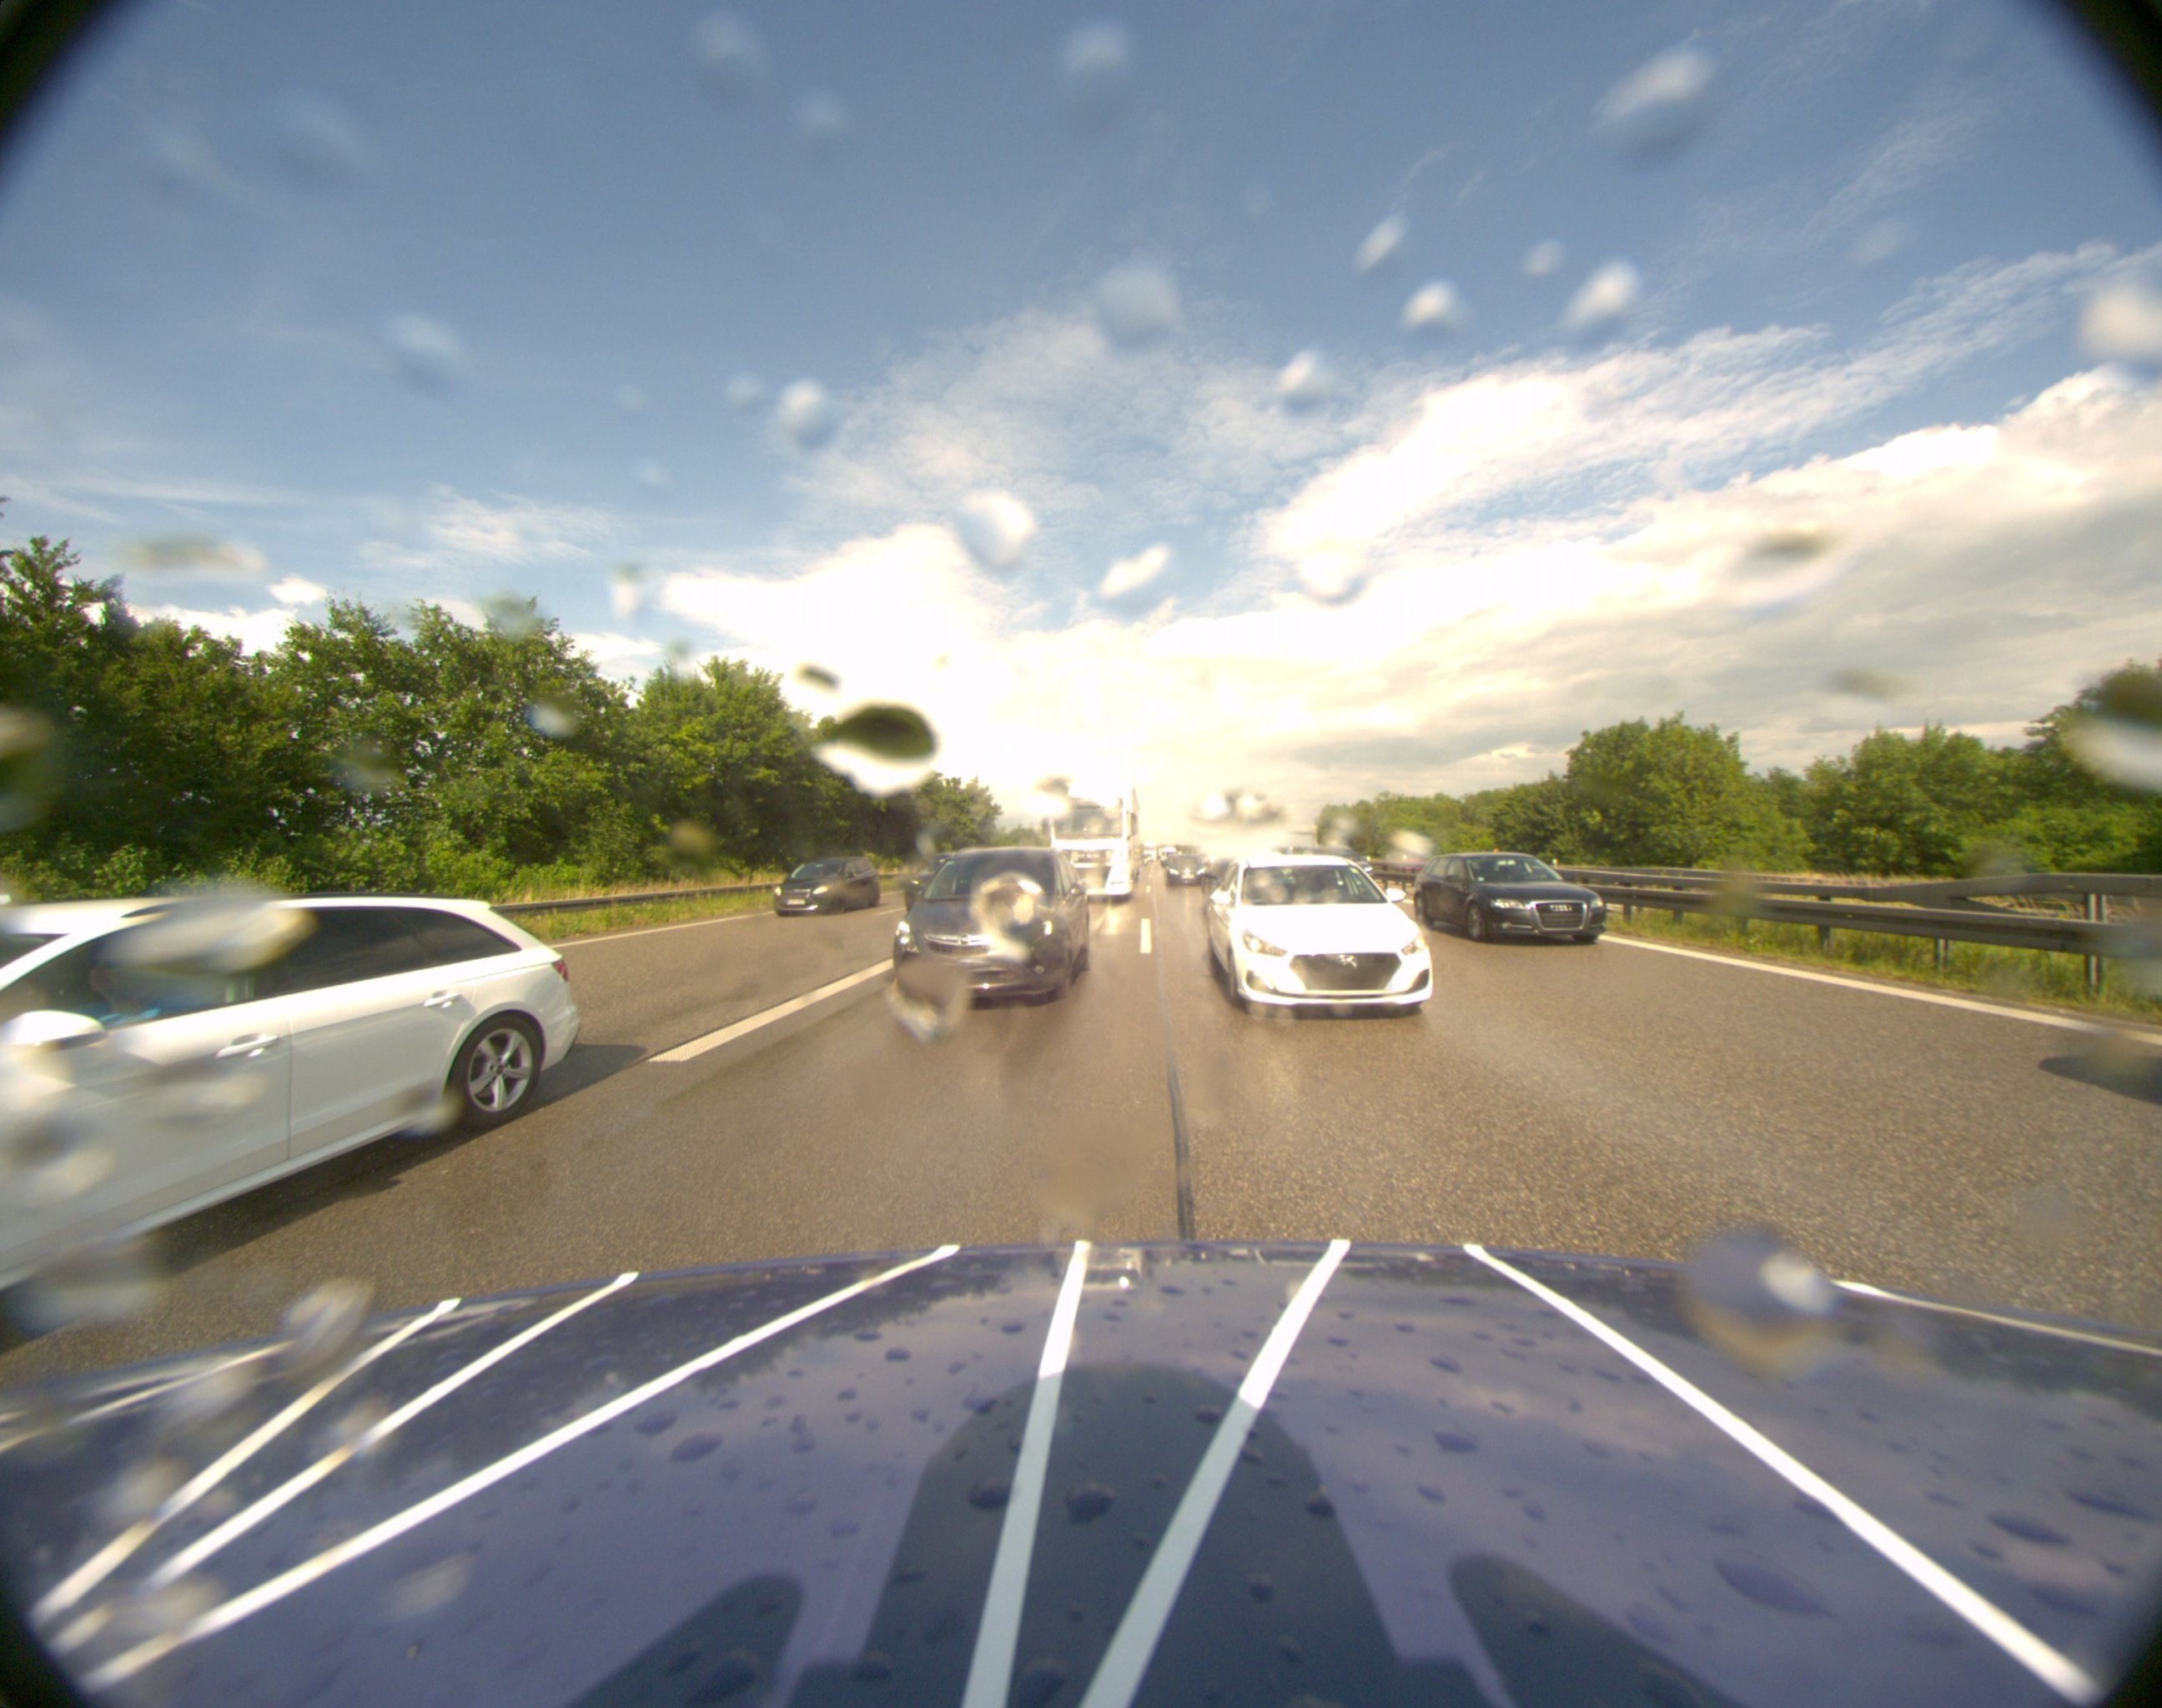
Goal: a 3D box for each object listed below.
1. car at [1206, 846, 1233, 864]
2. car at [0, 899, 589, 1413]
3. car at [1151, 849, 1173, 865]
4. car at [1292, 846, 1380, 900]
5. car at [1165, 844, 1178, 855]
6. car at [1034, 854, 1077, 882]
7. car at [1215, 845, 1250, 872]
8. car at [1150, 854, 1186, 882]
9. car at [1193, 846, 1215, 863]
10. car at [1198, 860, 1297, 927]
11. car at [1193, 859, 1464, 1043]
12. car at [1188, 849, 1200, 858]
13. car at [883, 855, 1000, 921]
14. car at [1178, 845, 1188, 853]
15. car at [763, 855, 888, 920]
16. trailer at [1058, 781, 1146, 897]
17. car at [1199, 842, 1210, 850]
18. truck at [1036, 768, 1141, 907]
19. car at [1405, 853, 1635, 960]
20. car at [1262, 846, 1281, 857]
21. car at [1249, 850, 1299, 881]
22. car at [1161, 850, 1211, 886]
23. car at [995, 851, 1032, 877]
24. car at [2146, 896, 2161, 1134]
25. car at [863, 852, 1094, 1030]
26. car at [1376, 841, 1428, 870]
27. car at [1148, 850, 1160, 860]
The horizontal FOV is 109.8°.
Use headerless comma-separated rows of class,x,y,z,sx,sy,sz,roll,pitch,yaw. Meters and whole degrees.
car,12.901,0.107,71.007,1.998,1.471,4.000,-2,1,4
car,-4.304,1.044,2.895,1.831,1.417,4.511,0,1,1
car,8.130,0.283,76.459,1.998,1.471,4.000,-2,1,4
car,8.412,0.565,25.433,1.874,1.597,4.230,-1,1,6
car,16.064,-0.821,135.208,1.998,1.687,4.000,-2,1,4
car,-1.331,0.726,41.856,1.755,1.402,4.513,-2,0,5
car,11.056,0.304,55.803,1.998,1.739,4.000,-2,1,4
car,5.351,0.851,47.233,1.998,1.471,4.000,-2,1,4
car,13.578,-0.011,84.201,1.998,1.687,4.000,-2,1,4
car,3.848,0.852,18.192,1.728,1.330,4.288,-1,0,5
car,2.389,0.837,8.604,1.885,1.446,4.549,-1,0,5
car,22.474,-0.117,150.804,1.998,1.687,4.000,-2,1,4
car,-3.700,0.851,21.076,1.998,1.572,4.654,-1,0,5
car,22.974,-1.208,171.491,1.998,1.687,4.000,-2,1,4
car,-7.260,0.898,22.127,1.824,1.611,4.365,-2,0,5
trailer,1.251,-0.613,33.103,2.789,4.083,11.542,-2,1,6
car,28.656,-1.835,176.458,1.998,1.768,4.462,-1,0,5
truck,0.517,-0.520,26.500,2.816,4.083,7.448,-2,1,6
car,7.037,0.738,12.735,1.770,1.417,4.140,-2,1,6
car,29.165,-0.350,116.294,1.998,1.677,4.462,-1,0,4
car,9.707,0.532,38.494,1.771,1.371,4.000,-1,1,4
car,4.770,0.599,34.912,1.998,1.478,4.000,-1,1,4
car,-4.479,0.648,50.931,1.752,1.577,4.287,-2,1,5
car,6.475,0.863,2.027,1.728,1.270,4.064,-1,0,5
car,-0.928,0.821,9.322,1.883,1.638,4.397,-1,0,5
car,22.938,0.088,54.514,1.998,2.002,4.654,-1,0,4
car,12.782,0.167,133.289,1.998,1.687,4.000,-2,1,4
